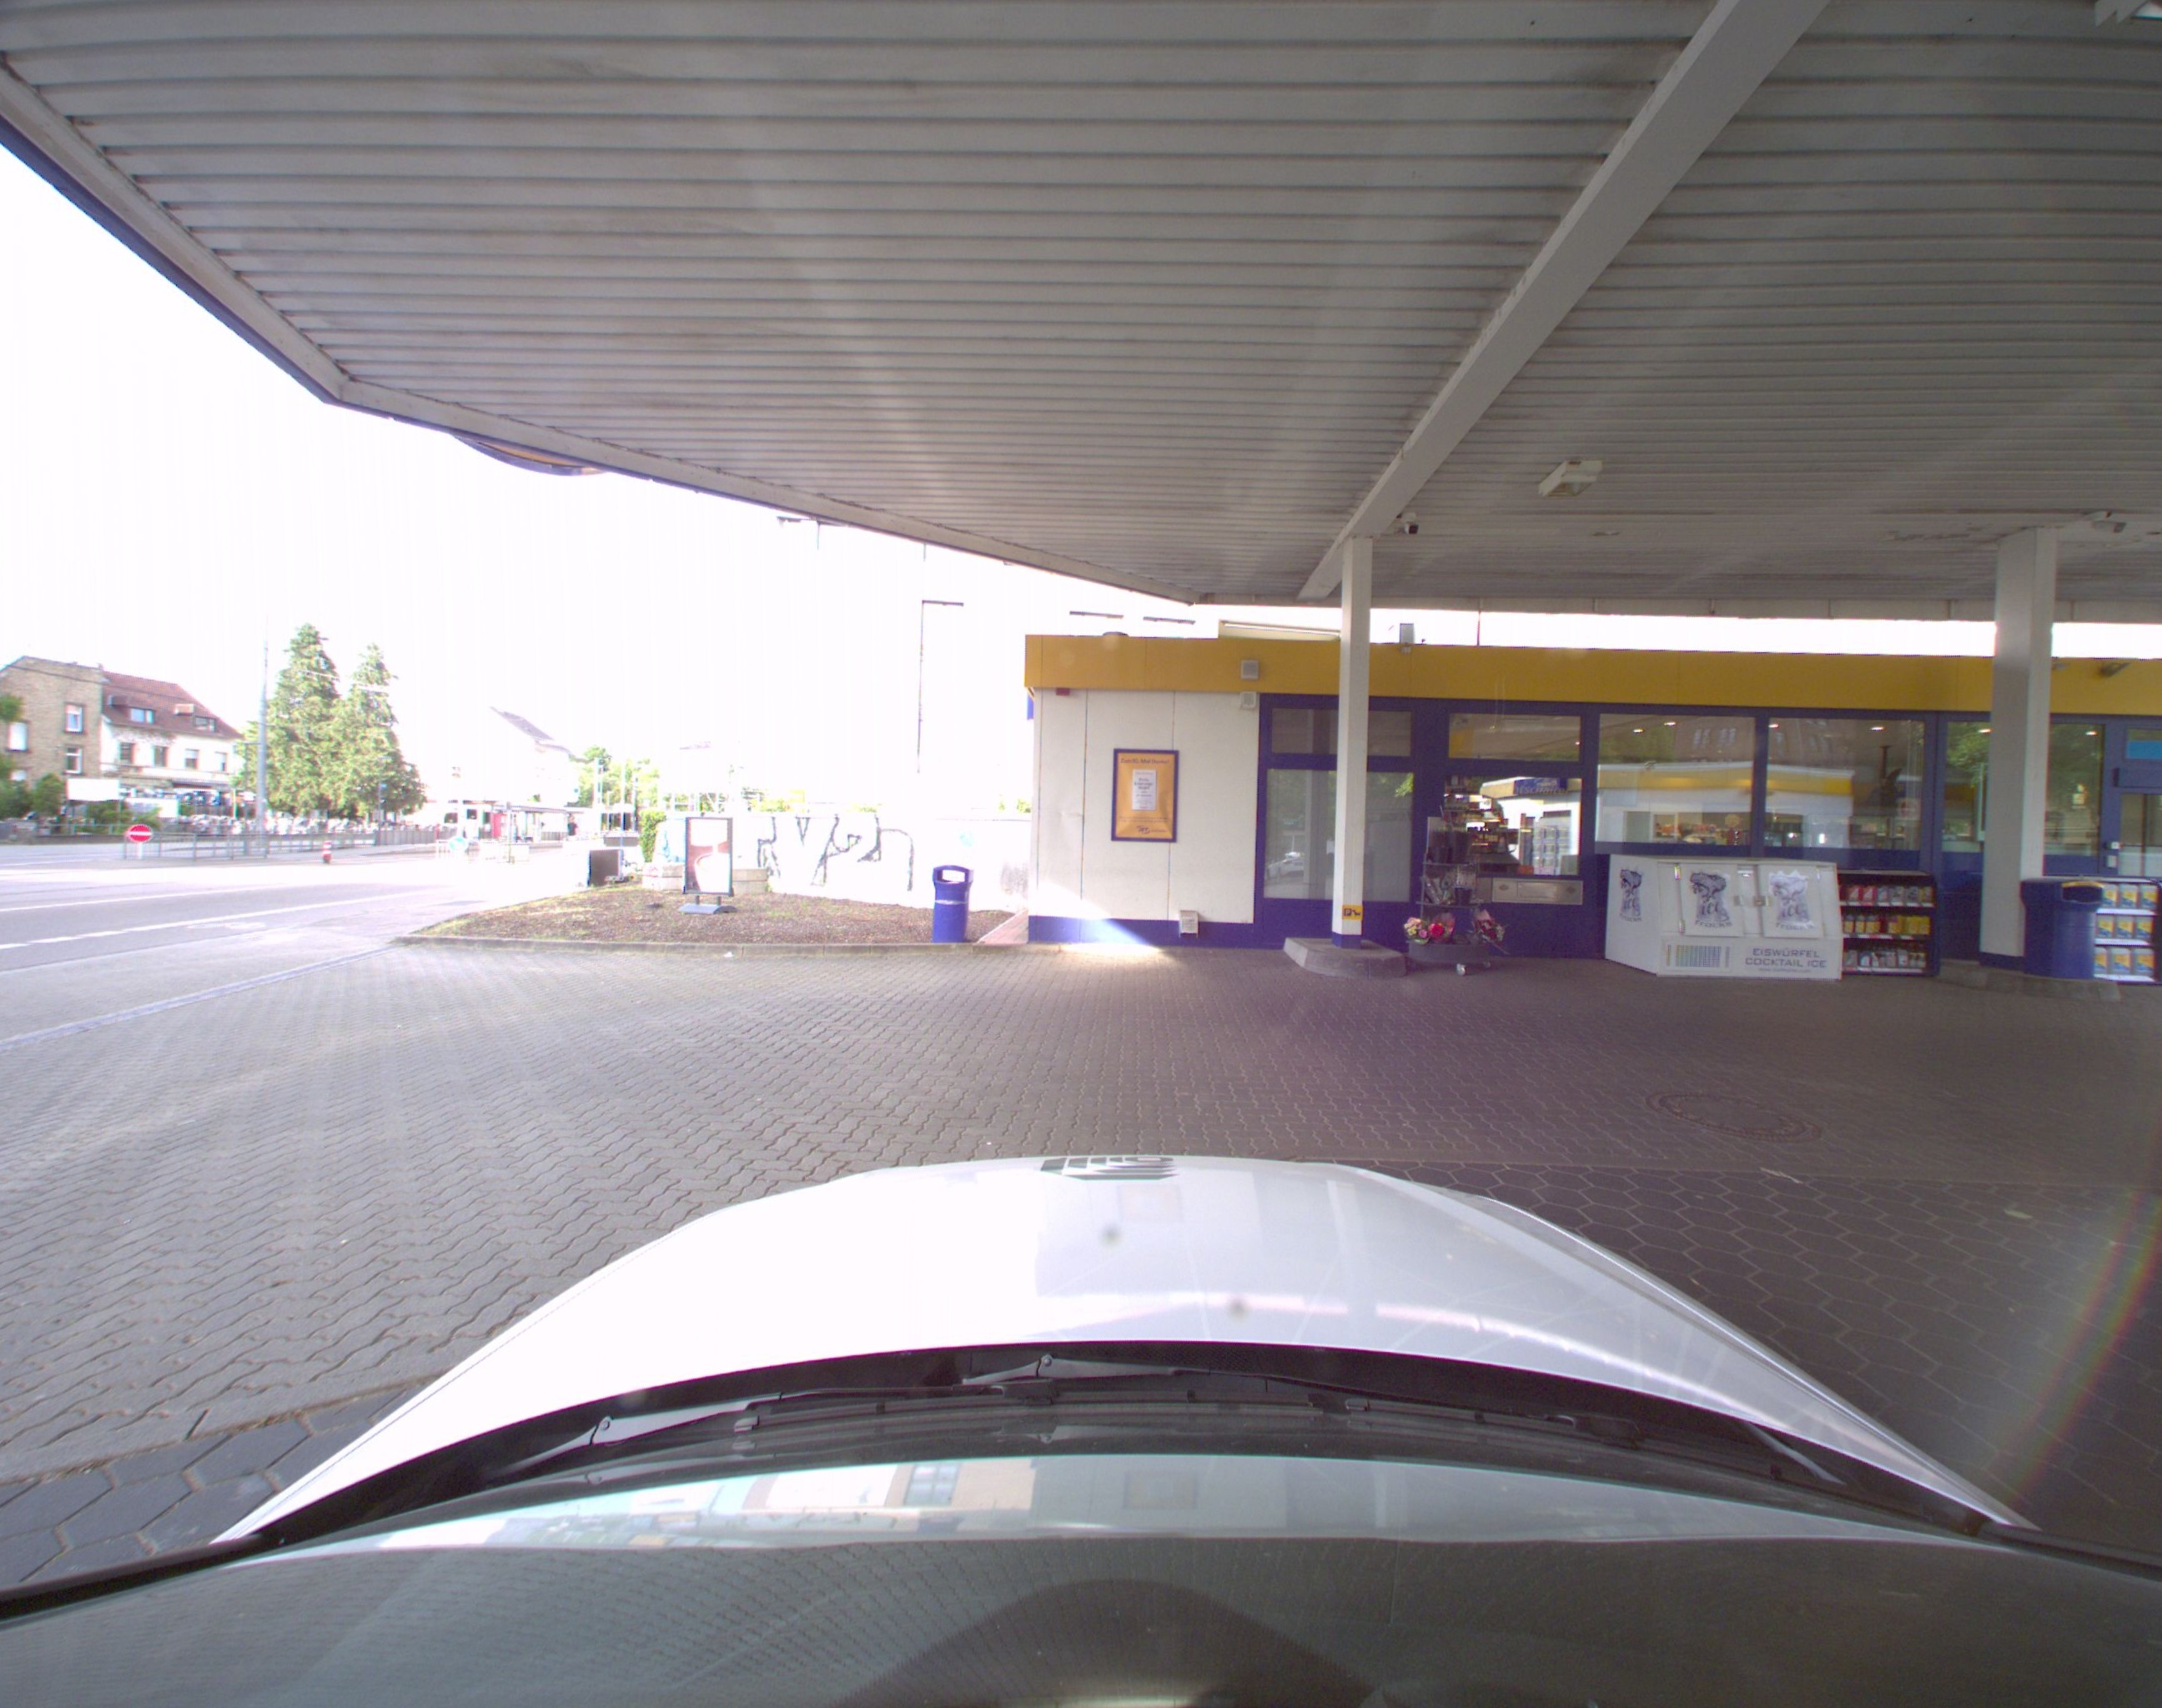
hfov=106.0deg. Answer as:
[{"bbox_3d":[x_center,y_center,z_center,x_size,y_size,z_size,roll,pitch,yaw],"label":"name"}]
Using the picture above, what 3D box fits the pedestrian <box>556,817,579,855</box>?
[{"bbox_3d":[-27.508,-0.954,43.635,0.807,2.014,0.847,0,-1,-12],"label":"pedestrian"}]
